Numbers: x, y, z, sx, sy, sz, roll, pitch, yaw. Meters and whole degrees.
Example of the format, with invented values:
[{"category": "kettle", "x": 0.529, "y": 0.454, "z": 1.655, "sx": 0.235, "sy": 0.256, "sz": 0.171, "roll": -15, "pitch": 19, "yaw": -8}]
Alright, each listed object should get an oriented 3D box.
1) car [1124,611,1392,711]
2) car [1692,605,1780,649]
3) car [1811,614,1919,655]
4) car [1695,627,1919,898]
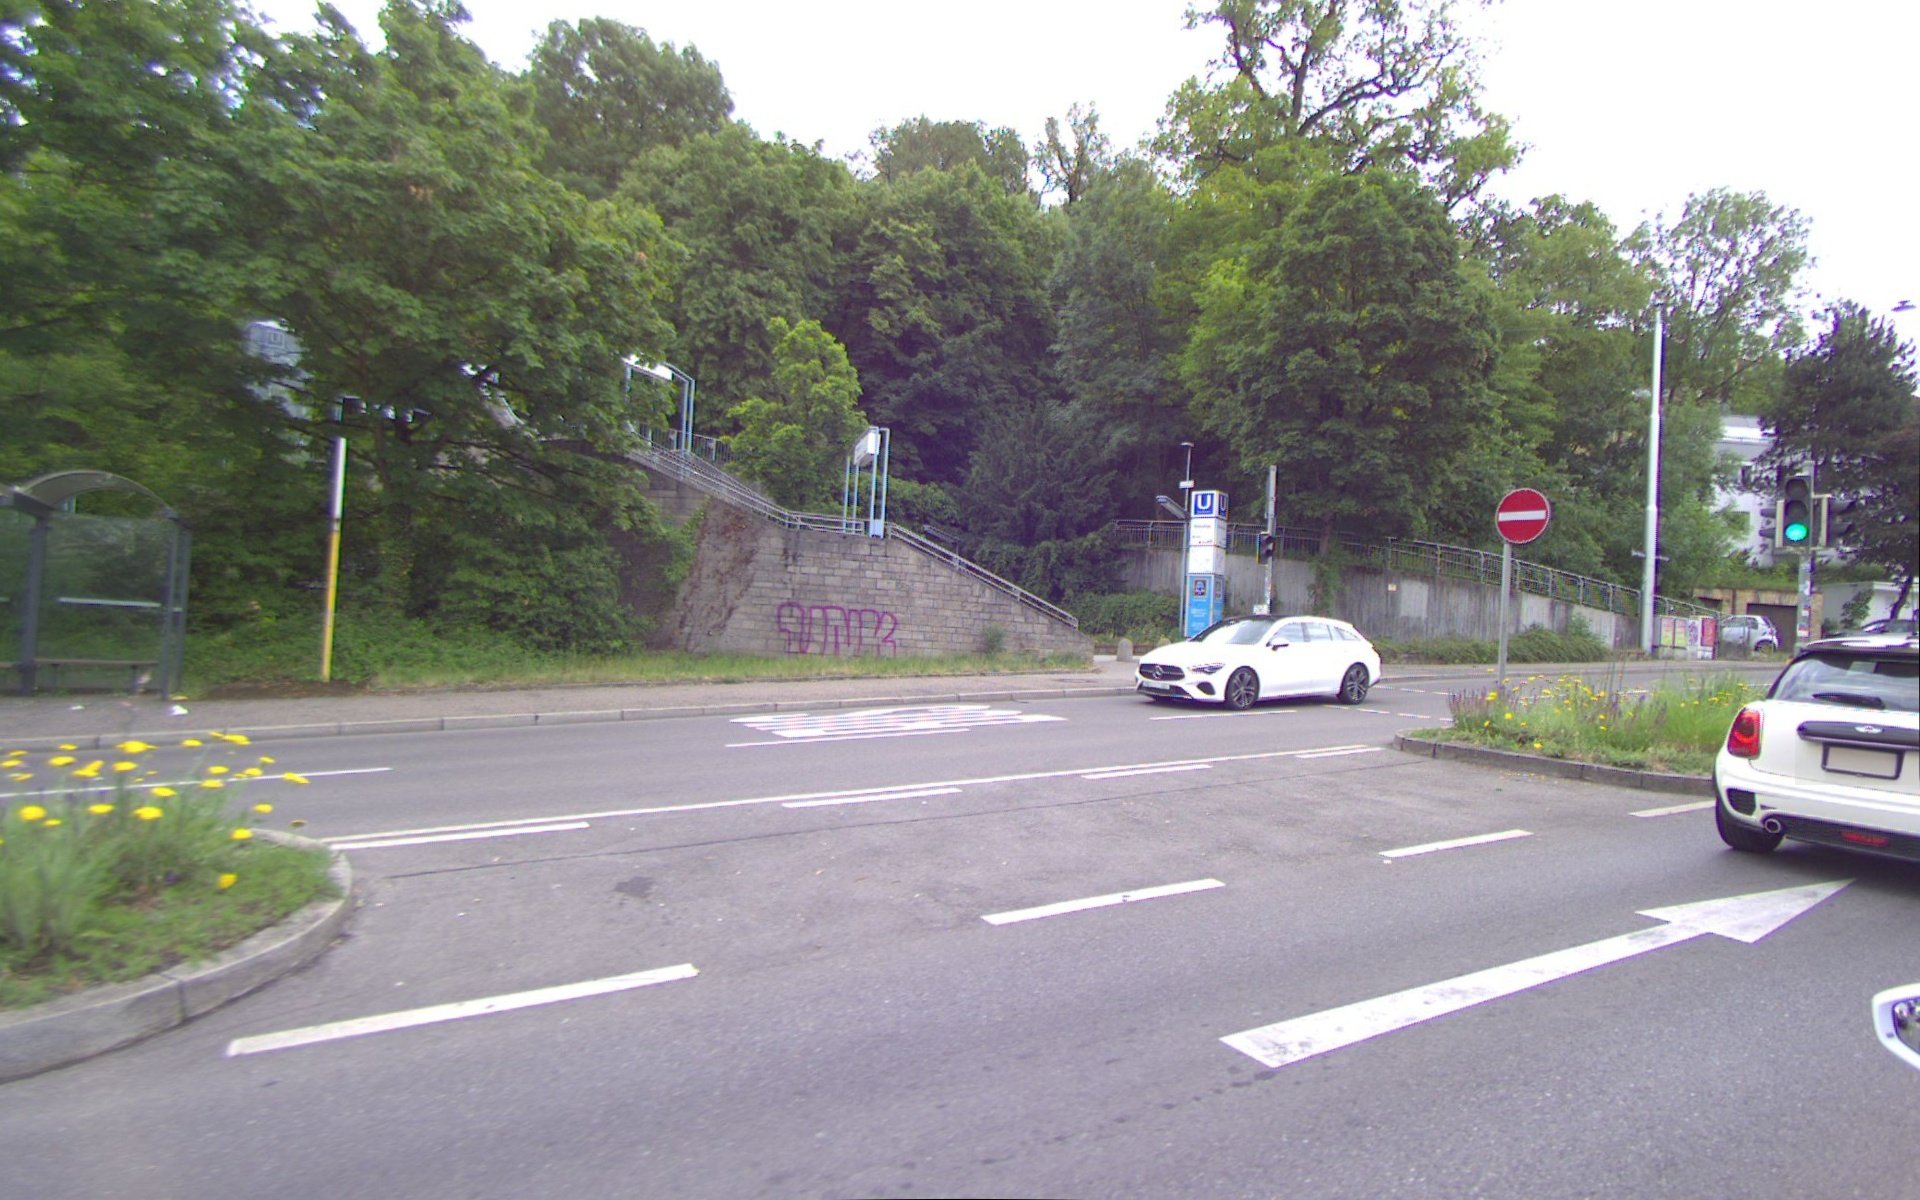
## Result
[{"category": "car", "x": 4.906, "y": 0.902, "z": 16.247, "sx": 4.562, "sy": 1.412, "sz": 1.706, "roll": 1, "pitch": -1, "yaw": -35}, {"category": "car", "x": 31.222, "y": 1.056, "z": 40.483, "sx": 2.667, "sy": 1.540, "sz": 1.558, "roll": 4, "pitch": 2, "yaw": 36}, {"category": "car", "x": 36.769, "y": 1.355, "z": 40.020, "sx": 4.053, "sy": 1.560, "sz": 1.598, "roll": 1, "pitch": 0, "yaw": 23}, {"category": "car", "x": 6.484, "y": 0.890, "z": 6.367, "sx": 3.522, "sy": 1.412, "sz": 1.621, "roll": 1, "pitch": -1, "yaw": -29}]
